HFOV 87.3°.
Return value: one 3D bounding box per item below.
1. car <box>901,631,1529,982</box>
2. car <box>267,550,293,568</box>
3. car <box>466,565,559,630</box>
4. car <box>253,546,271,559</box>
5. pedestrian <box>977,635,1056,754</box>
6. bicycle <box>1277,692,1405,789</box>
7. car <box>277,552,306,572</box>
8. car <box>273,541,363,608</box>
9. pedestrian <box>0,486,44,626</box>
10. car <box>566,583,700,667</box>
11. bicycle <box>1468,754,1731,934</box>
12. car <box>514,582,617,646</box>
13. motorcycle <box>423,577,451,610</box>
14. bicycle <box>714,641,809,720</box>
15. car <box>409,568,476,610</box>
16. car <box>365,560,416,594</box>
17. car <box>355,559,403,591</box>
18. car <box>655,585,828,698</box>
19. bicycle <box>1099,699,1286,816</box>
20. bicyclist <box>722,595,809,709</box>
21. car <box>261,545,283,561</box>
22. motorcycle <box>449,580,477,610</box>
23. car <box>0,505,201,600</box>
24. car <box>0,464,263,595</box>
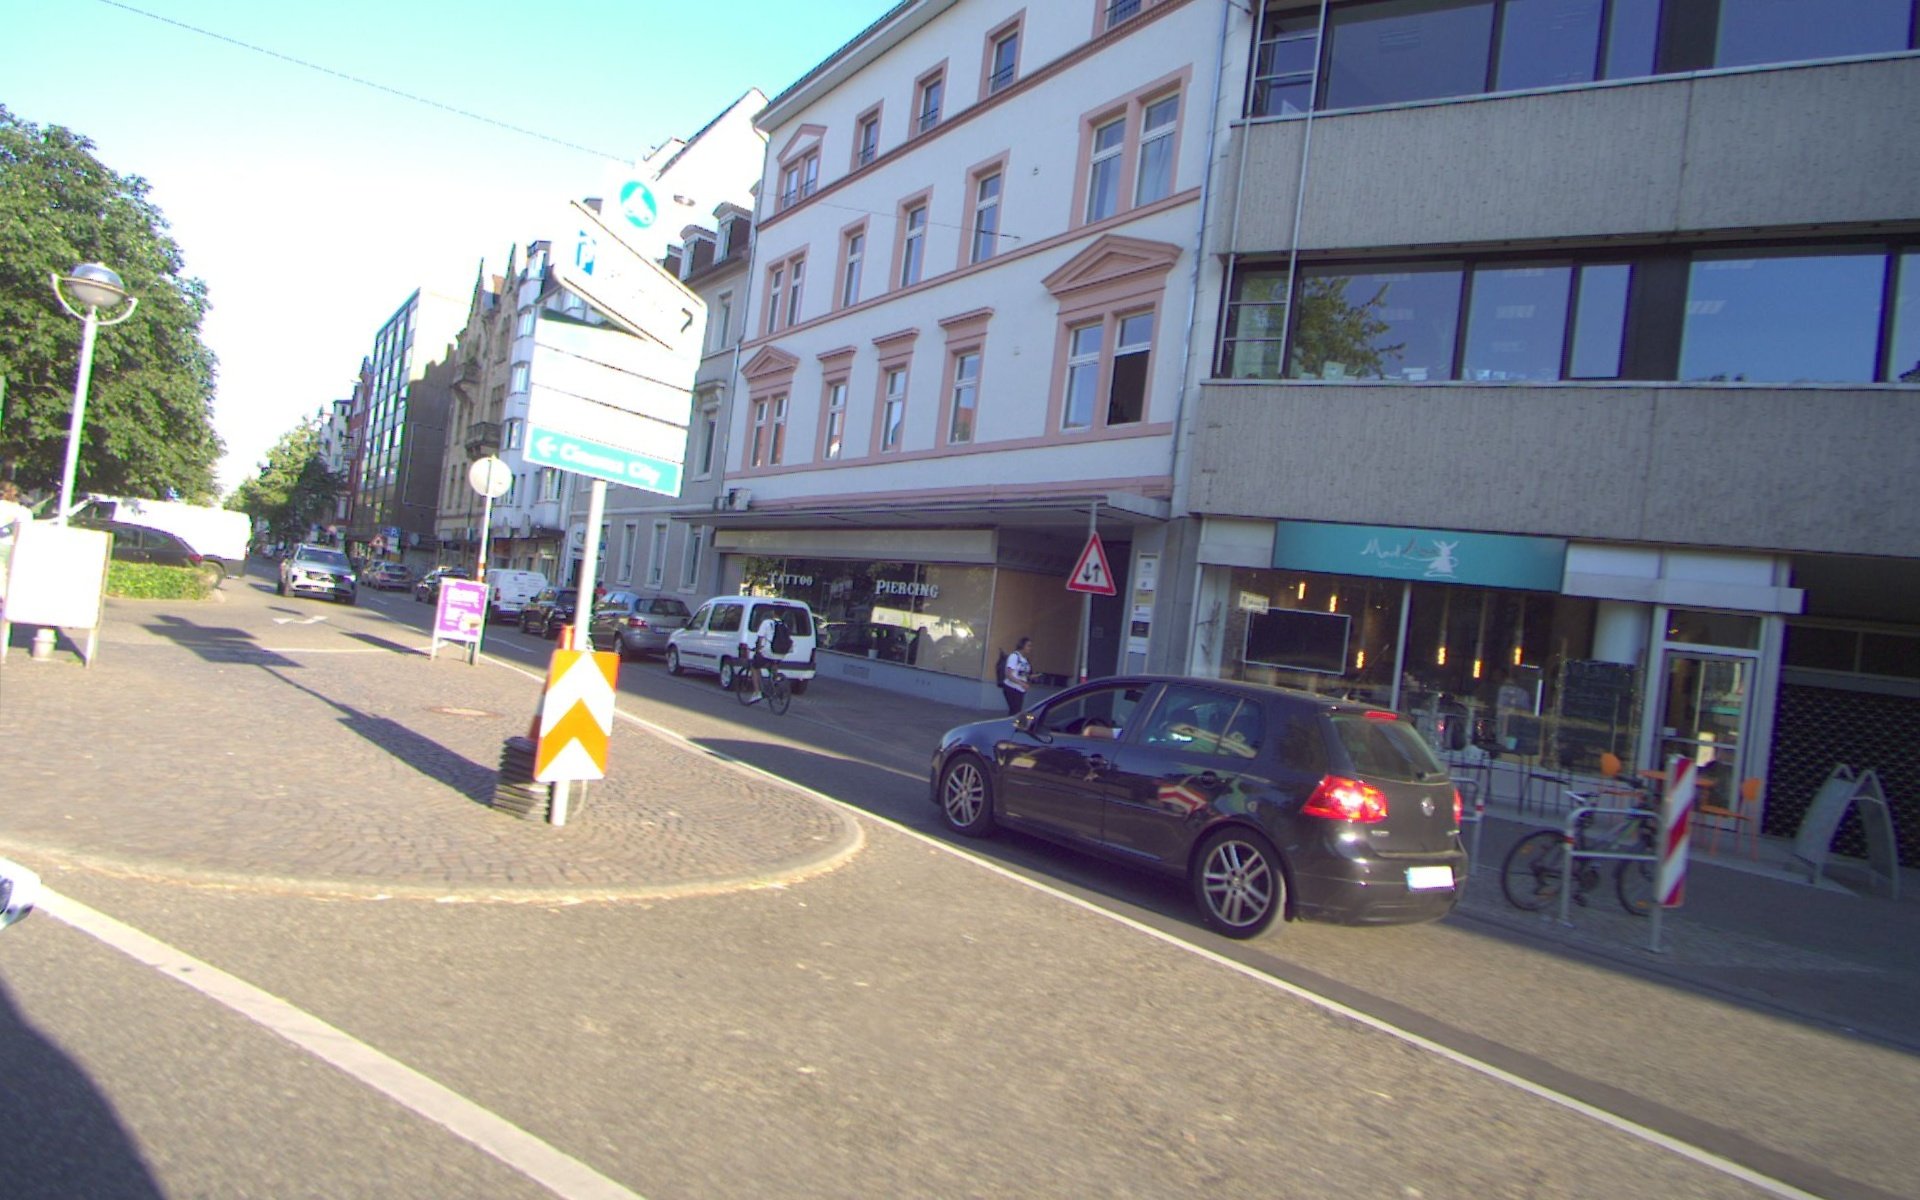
[{"bbox_3d":[1.521,1.211,7.269,1.740,1.478,4.060,9,-2,-38],"label":"car"},{"bbox_3d":[-67.658,-4.060,100.141,1.744,1.529,3.507,6,-1,-39],"label":"car"},{"bbox_3d":[-15.228,-0.118,34.135,1.915,1.863,3.978,6,-1,-37],"label":"car"},{"bbox_3d":[-97.887,-6.681,141.097,1.744,1.529,3.507,6,-1,-39],"label":"car"},{"bbox_3d":[0.802,1.341,14.305,0.627,1.573,0.731,8,-1,-36],"label":"pedestrian"},{"bbox_3d":[5.235,1.929,13.897,1.494,1.134,0.515,4,1,8],"label":"bicycle"},{"bbox_3d":[-59.665,-3.396,89.817,1.744,1.529,3.507,6,-1,-39],"label":"car"},{"bbox_3d":[-21.071,-0.863,32.970,1.985,1.792,3.958,8,-1,-38],"label":"car"},{"bbox_3d":[-12.439,-0.604,12.878,0.858,1.726,0.929,9,-2,-44],"label":"pedestrian"},{"bbox_3d":[-7.939,0.563,24.221,1.726,1.636,3.876,6,-1,-38],"label":"car"},{"bbox_3d":[4.929,1.872,7.802,1.578,1.133,0.611,6,1,-5],"label":"bicycle"},{"bbox_3d":[-11.485,0.377,29.168,1.726,1.480,3.548,6,-1,-38],"label":"car"},{"bbox_3d":[-21.385,-0.276,41.121,1.586,1.189,0.485,6,2,45],"label":"motorcycle"},{"bbox_3d":[-3.205,1.270,16.110,0.576,0.998,1.915,9,-2,-38],"label":"bicycle"},{"bbox_3d":[-22.808,-0.513,44.261,1.744,1.529,3.932,6,-1,-39],"label":"car"},{"bbox_3d":[-30.975,-1.259,54.643,1.744,1.529,3.507,6,-1,-39],"label":"car"},{"bbox_3d":[-33.607,-1.459,58.167,1.744,1.529,3.507,6,-1,-39],"label":"car"},{"bbox_3d":[-4.441,0.768,20.076,1.726,1.822,3.876,6,-1,-38],"label":"car"},{"bbox_3d":[2.541,1.722,11.054,1.820,1.059,0.580,6,1,-8],"label":"bicycle"},{"bbox_3d":[-3.089,0.818,15.965,0.774,1.637,1.014,9,-2,-39],"label":"bicyclist"},{"bbox_3d":[-79.572,-5.422,116.299,1.744,1.529,3.507,6,-1,-39],"label":"car"},{"bbox_3d":[-20.399,-0.203,41.281,0.484,1.057,1.812,4,1,-42],"label":"motorcycle"},{"bbox_3d":[-19.098,-1.025,21.613,1.844,1.570,4.004,7,-2,19],"label":"car"},{"bbox_3d":[-22.697,-1.809,27.424,2.116,2.624,5.529,7,-2,25],"label":"car"}]
